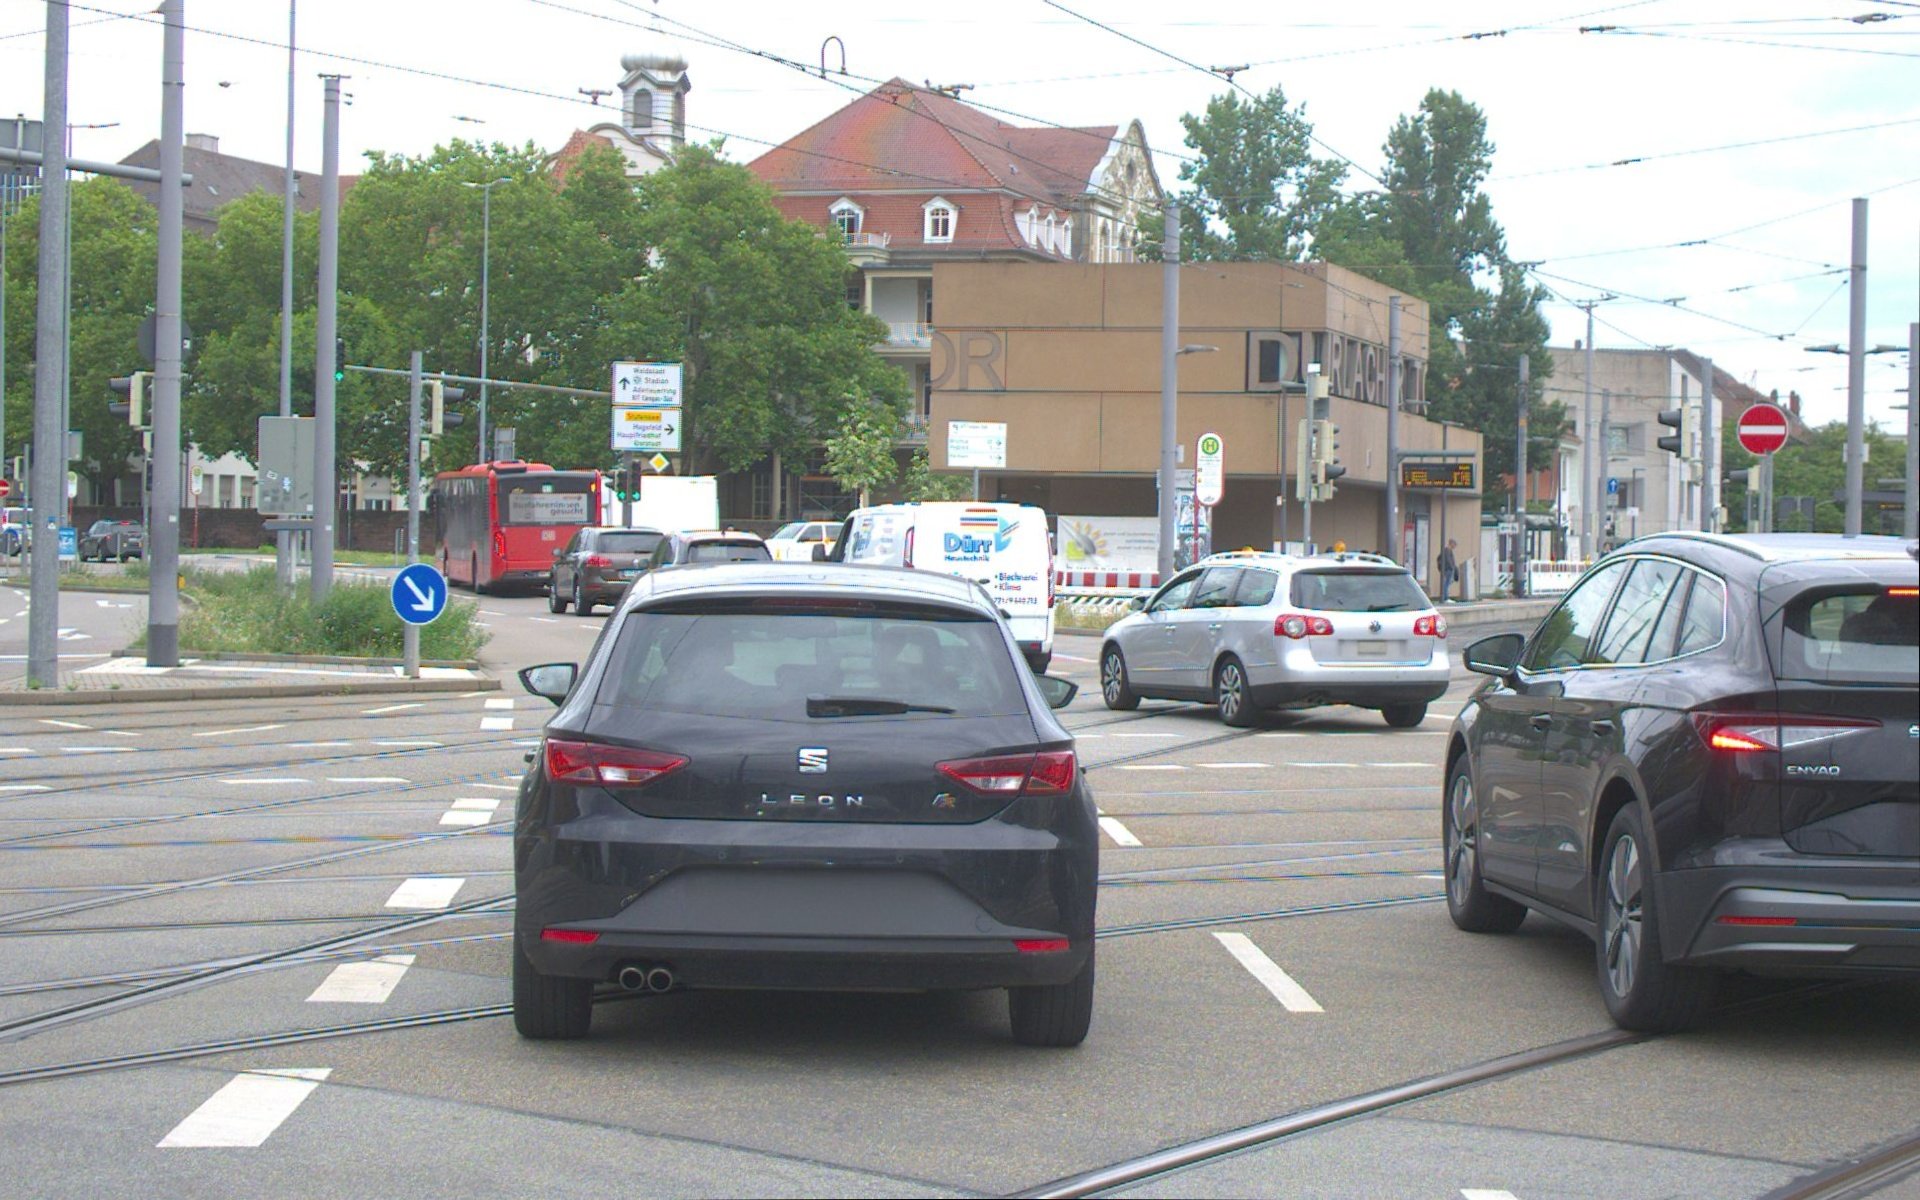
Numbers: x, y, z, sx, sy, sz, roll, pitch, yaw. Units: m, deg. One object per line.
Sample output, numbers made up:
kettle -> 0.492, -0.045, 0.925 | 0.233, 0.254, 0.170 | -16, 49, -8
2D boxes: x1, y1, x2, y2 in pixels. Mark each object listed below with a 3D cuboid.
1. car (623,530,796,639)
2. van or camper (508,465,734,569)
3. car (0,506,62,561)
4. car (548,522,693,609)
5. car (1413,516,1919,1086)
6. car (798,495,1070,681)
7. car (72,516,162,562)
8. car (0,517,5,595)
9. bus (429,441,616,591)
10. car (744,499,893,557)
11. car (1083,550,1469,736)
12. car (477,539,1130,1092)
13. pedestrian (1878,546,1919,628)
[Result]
car -> -3.948, -0.275, 53.578 | 1.857, 1.595, 4.206 | 1, 1, -15
van or camper -> -11.418, -2.768, 116.175 | 7.130, 3.321, 2.876 | 0, 0, -37
car -> -35.709, -2.531, 130.444 | 1.993, 2.007, 4.000 | 1, 1, -33
car -> -6.439, -0.674, 64.773 | 1.993, 1.560, 4.206 | 1, 1, -15
car -> 2.954, 0.562, 12.323 | 1.903, 1.652, 4.515 | 1, 1, -2
car -> -0.396, -0.181, 40.434 | 1.993, 2.012, 5.033 | 1, 1, -14
car -> -29.501, -2.148, 120.231 | 1.993, 1.534, 4.000 | 1, 1, -30
car -> -22.673, -1.022, 77.741 | 1.870, 1.719, 4.714 | 0, 1, -18
bus -> -10.765, -2.000, 83.352 | 3.057, 3.286, 12.383 | 1, 1, -14
car -> -4.974, -2.513, 121.025 | 4.989, 1.858, 1.999 | 1, -2, -37
car -> 2.693, 0.320, 30.510 | 1.720, 1.477, 4.630 | 0, 1, -18
car -> -0.608, 0.567, 11.461 | 1.745, 1.459, 4.001 | 2, 1, -5
pedestrian -> 21.158, -0.294, 77.286 | 0.824, 1.802, 1.020 | 1, 1, 23
